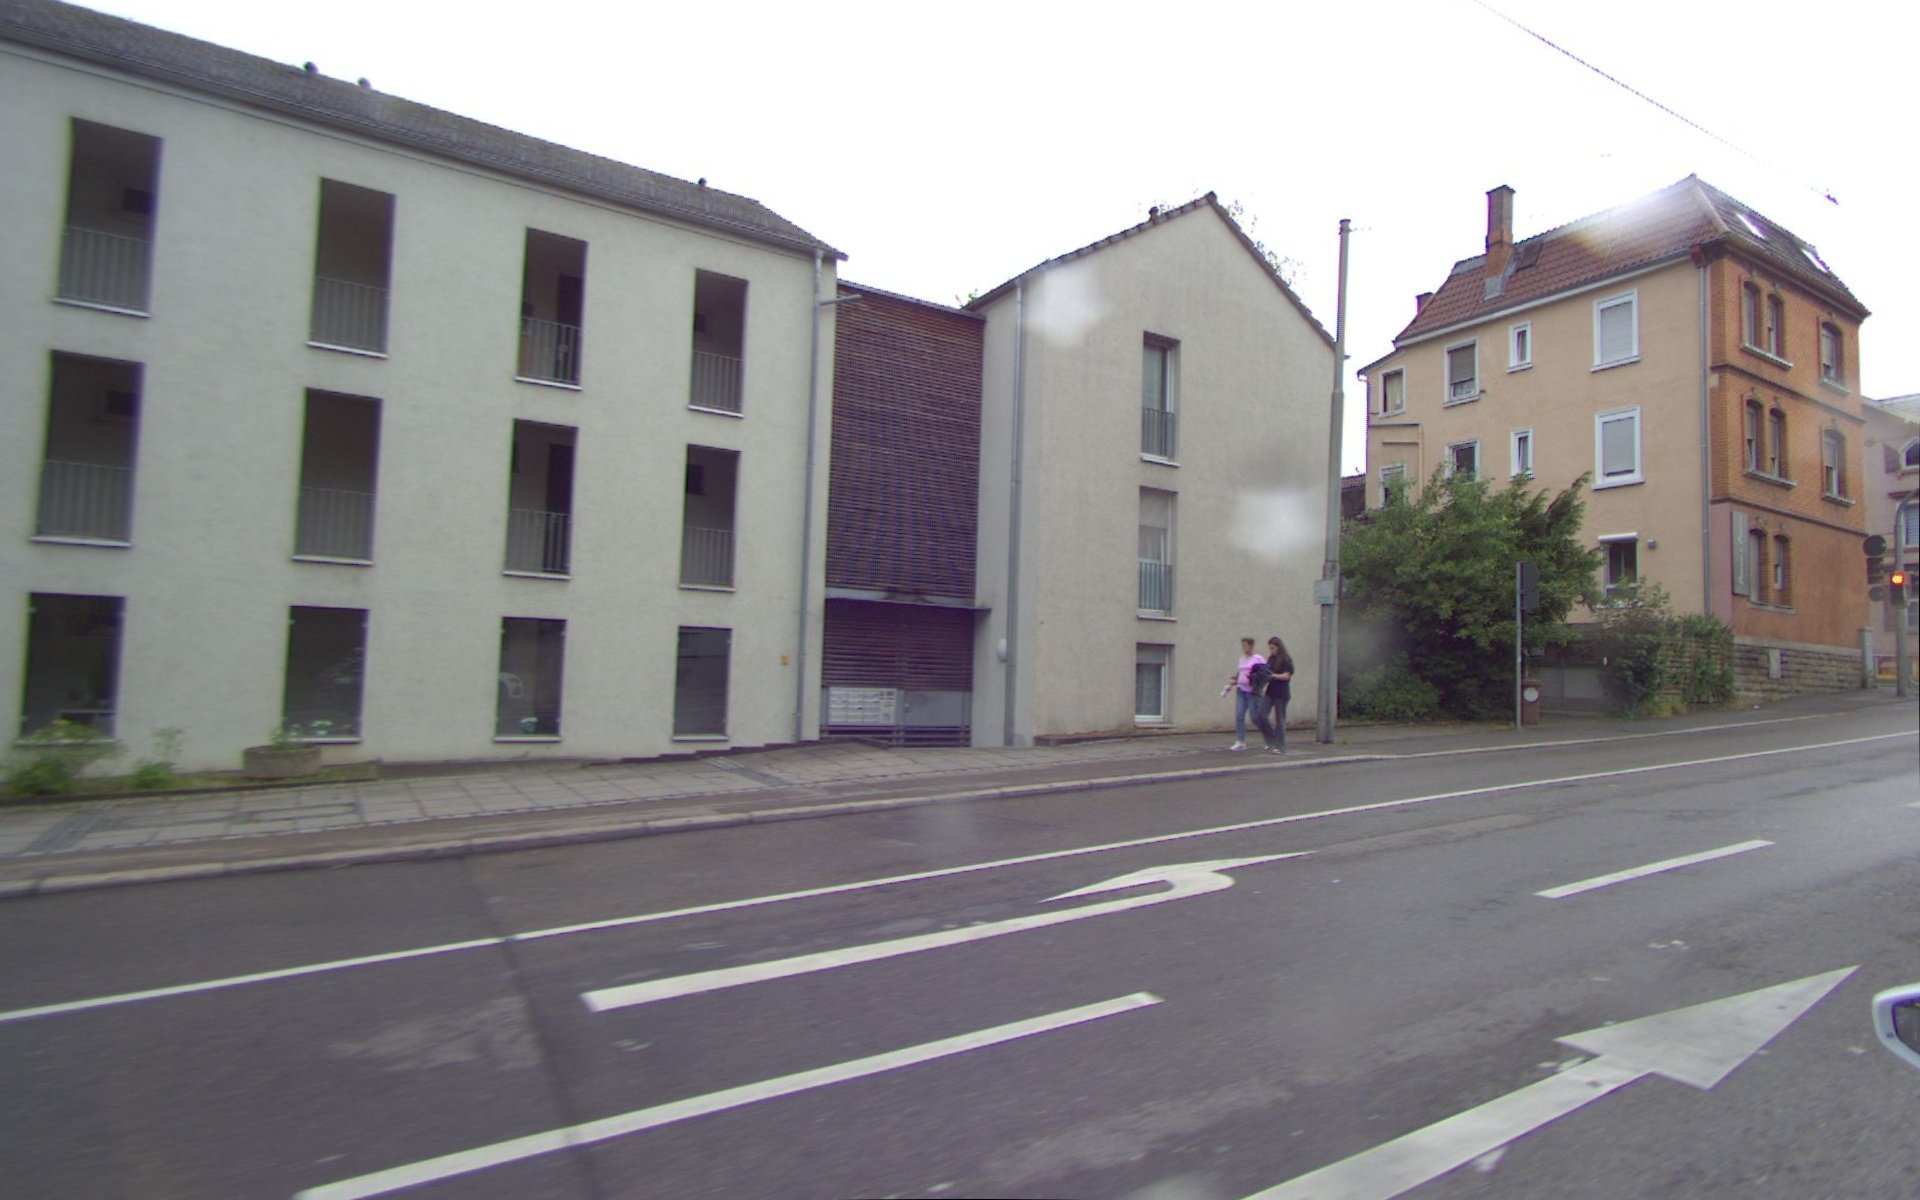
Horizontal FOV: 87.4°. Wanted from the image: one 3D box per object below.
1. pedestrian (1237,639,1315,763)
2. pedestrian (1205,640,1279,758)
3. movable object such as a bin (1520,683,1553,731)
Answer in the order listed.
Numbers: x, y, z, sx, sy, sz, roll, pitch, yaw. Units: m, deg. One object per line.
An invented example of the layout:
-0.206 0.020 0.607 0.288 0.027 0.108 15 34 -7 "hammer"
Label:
4.593 1.444 14.616 0.900 1.728 0.637 1 -3 -30 "pedestrian"
4.295 1.476 15.301 0.900 1.728 0.637 1 -3 -30 "pedestrian"
11.860 2.193 20.664 0.521 0.937 0.406 3 -3 -37 "movable object such as a bin"
